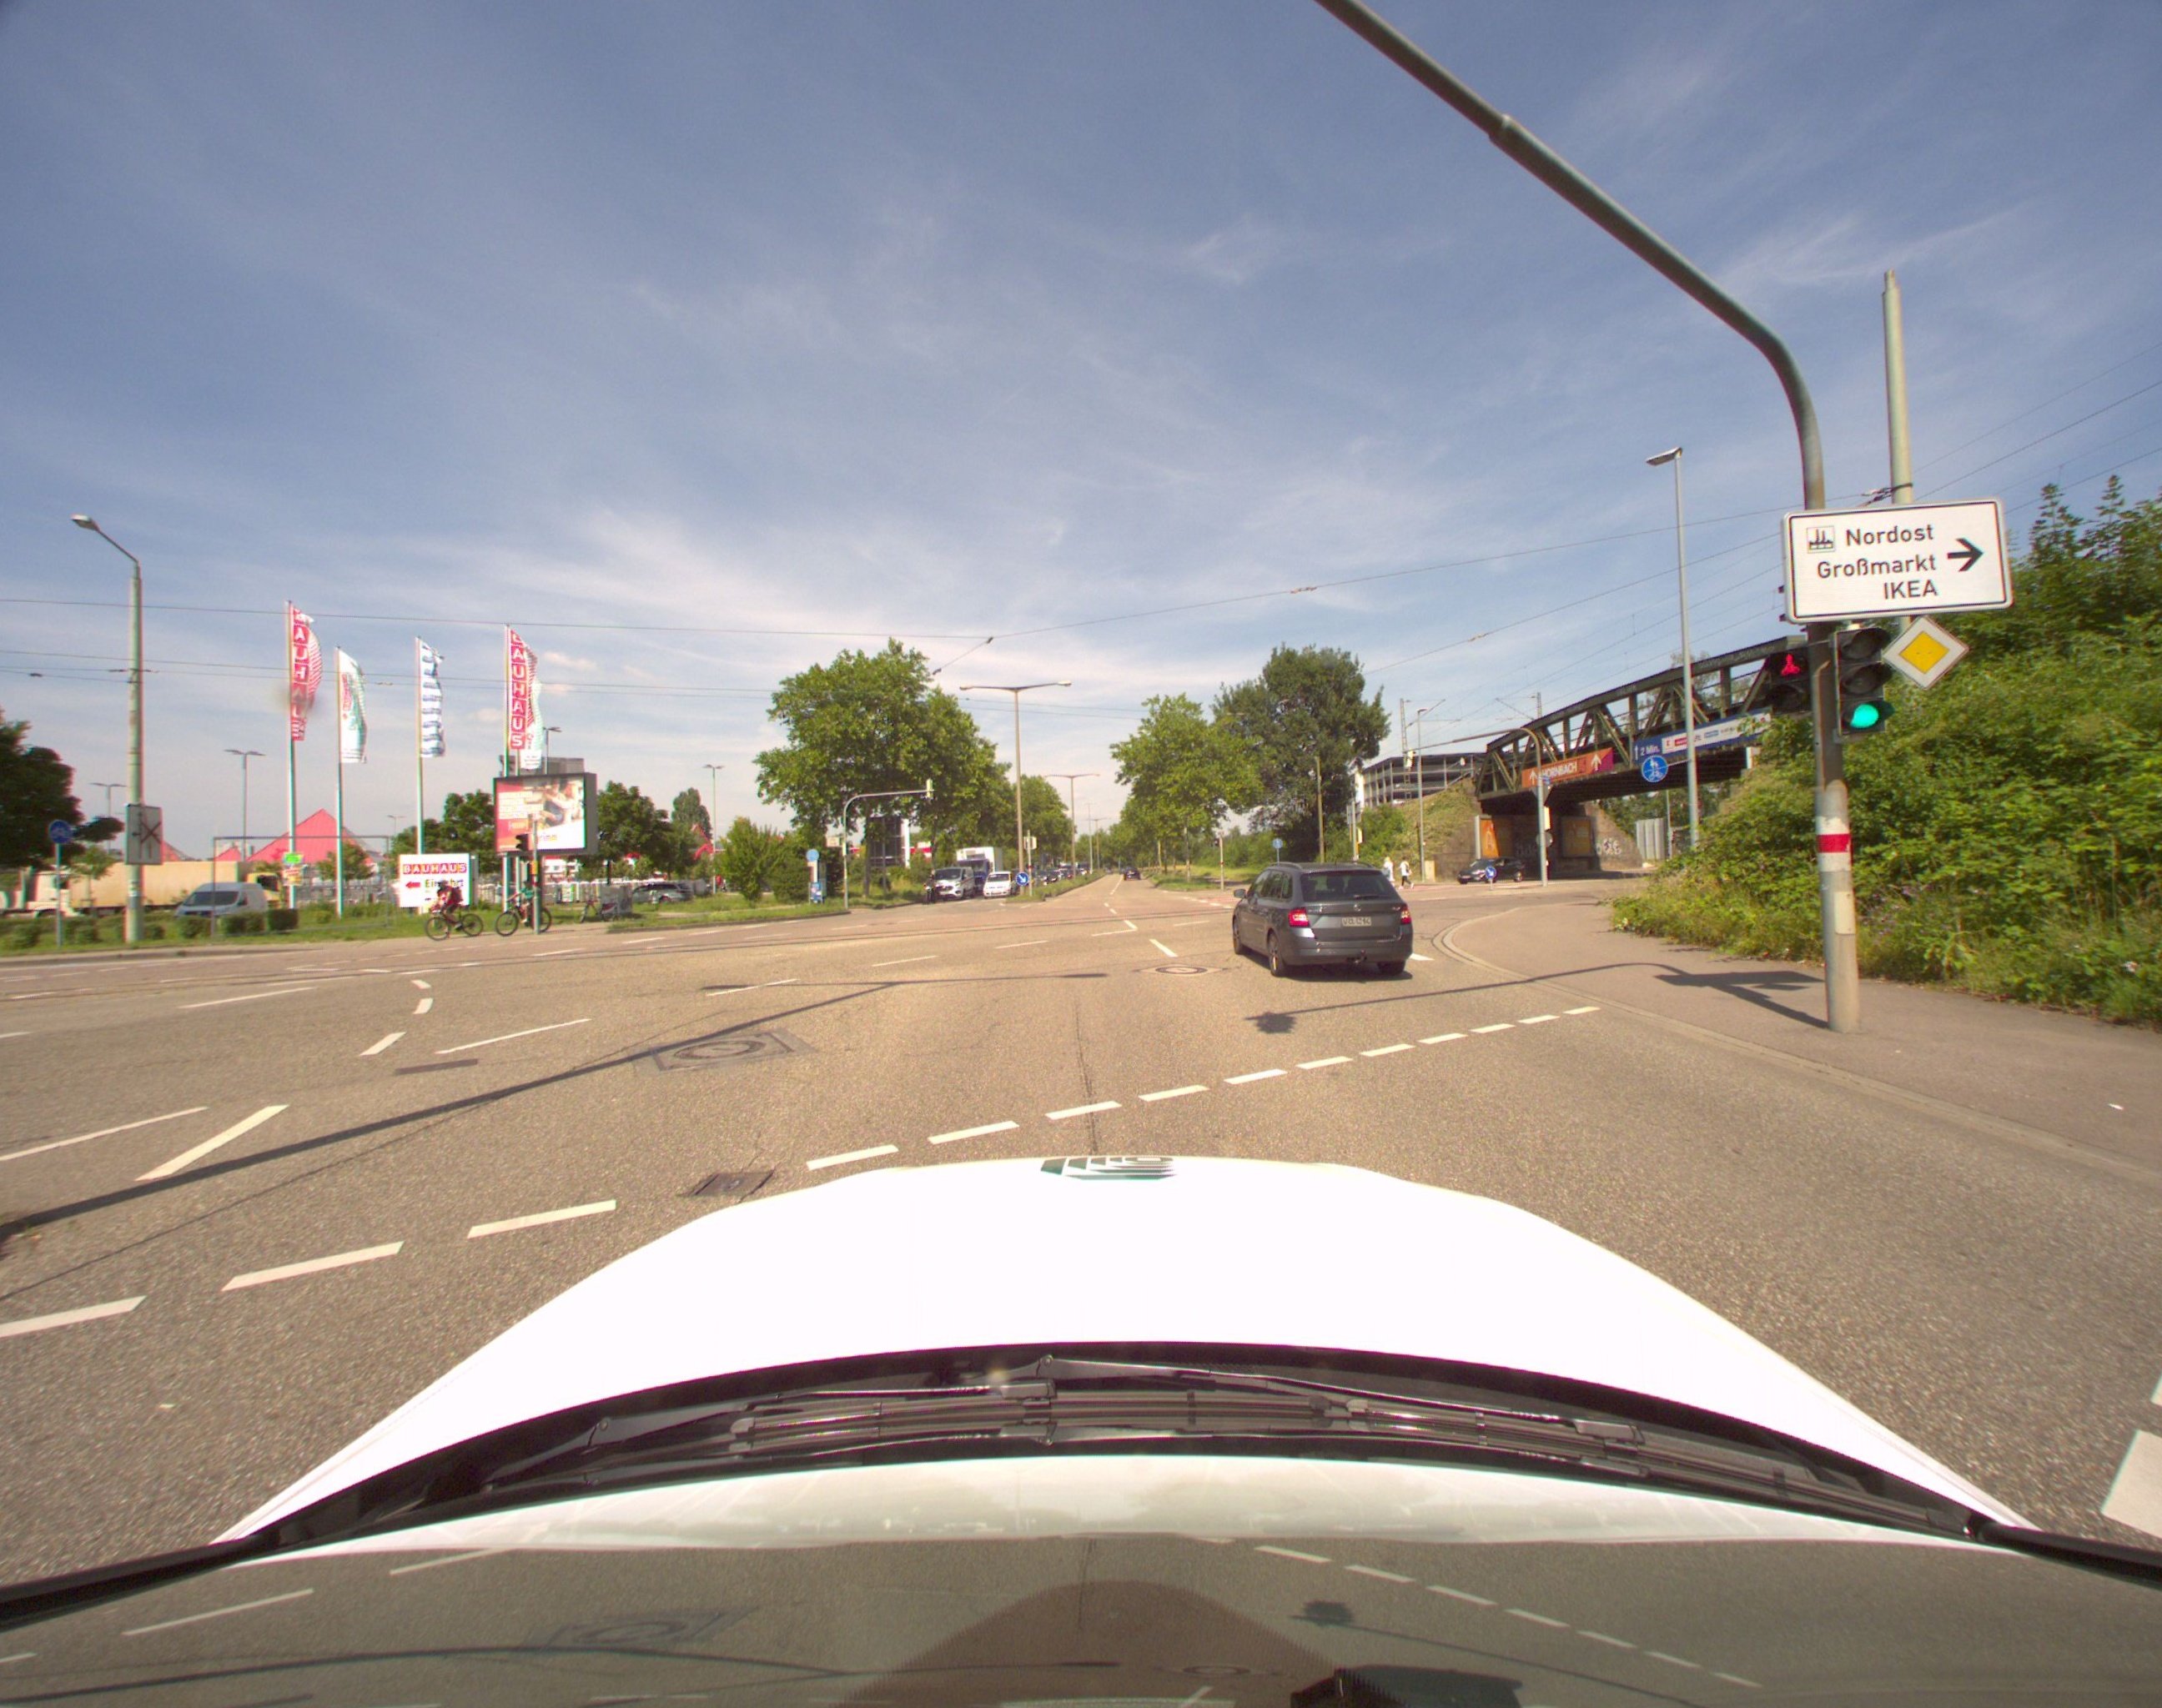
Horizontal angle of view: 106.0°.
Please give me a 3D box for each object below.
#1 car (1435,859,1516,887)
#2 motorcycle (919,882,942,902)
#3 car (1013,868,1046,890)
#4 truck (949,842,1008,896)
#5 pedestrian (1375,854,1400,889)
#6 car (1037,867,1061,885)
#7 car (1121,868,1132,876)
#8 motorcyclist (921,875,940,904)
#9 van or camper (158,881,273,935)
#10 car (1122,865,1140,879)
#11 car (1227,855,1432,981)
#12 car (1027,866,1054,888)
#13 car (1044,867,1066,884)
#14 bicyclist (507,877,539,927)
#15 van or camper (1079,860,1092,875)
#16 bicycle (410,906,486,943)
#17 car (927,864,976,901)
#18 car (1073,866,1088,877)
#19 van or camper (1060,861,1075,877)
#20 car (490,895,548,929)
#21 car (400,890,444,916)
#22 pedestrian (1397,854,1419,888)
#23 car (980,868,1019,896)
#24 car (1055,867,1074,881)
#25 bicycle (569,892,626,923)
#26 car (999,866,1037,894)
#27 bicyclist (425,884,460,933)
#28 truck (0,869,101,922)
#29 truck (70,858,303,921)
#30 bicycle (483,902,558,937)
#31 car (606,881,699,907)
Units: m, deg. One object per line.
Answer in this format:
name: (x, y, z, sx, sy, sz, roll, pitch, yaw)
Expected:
car: (21.945, 1.029, 45.216, 4.518, 1.409, 1.979, -1, -1, -33)
motorcycle: (-7.951, 1.992, 43.059, 0.685, 0.991, 2.219, -2, -1, 3)
car: (-3.751, 1.821, 60.047, 1.789, 1.468, 4.527, -3, -1, 4)
truck: (-7.239, 1.049, 58.485, 2.792, 3.471, 6.696, -4, -1, 3)
pedestrian: (14.861, 0.845, 39.484, 0.864, 1.612, 0.778, -2, -1, 2)
car: (-2.880, 1.986, 73.953, 1.682, 1.473, 4.221, -4, -1, 3)
car: (9.154, 3.583, 163.829, 1.902, 1.463, 4.581, -2, 0, 0)
motorcyclist: (-7.981, 1.874, 43.156, 0.740, 1.470, 0.988, -2, -1, 3)
van or camper: (-40.089, 2.424, 37.932, 2.203, 2.210, 5.464, -1, -1, -31)
car: (5.505, 1.971, 89.980, 1.900, 1.463, 4.624, -2, -1, 2)
car: (3.254, 0.764, 11.499, 1.669, 1.453, 4.035, -1, -1, 0)
car: (-3.259, 1.865, 66.585, 1.682, 1.586, 4.243, -3, -1, 3)
car: (-2.528, 2.091, 79.583, 1.682, 1.472, 3.817, -3, -1, 3)
bicyclist: (-17.246, 1.479, 25.166, 0.523, 1.491, 0.612, -2, -1, 18)
van or camper: (0.785, 2.300, 135.379, 1.931, 2.369, 5.399, -3, -2, 2)
bicycle: (-18.602, 2.054, 23.970, 0.429, 0.937, 1.761, -2, -1, 25)
car: (-7.558, 1.616, 48.077, 1.969, 1.999, 5.032, -2, -1, 1)
car: (-0.069, 2.577, 119.864, 1.776, 1.459, 4.475, -3, -1, 3)
van or camper: (-2.344, 2.539, 140.735, 2.006, 2.588, 5.521, -3, -1, 3)
car: (-30.594, 3.103, 44.292, 2.212, 1.572, 4.523, -1, -1, -40)
car: (-44.446, 3.285, 55.024, 1.828, 1.572, 4.235, -1, -1, -33)
pedestrian: (15.746, 0.817, 39.255, 0.726, 1.579, 0.778, -2, -1, 3)
car: (-4.668, 1.602, 47.184, 1.586, 1.477, 3.732, -3, -1, 3)
car: (-1.862, 2.270, 92.269, 1.778, 1.489, 4.213, -3, -1, 2)
bicycle: (-18.033, 1.981, 30.395, 0.589, 1.037, 1.904, -2, -1, 17)
car: (-4.063, 1.664, 53.155, 1.812, 1.647, 4.697, -3, -2, 3)
bicyclist: (-18.714, 1.591, 23.879, 0.522, 1.414, 0.613, -2, -1, 25)
truck: (-63.879, 2.487, 46.517, 9.652, 2.892, 2.896, -1, -1, -34)
truck: (-53.812, 2.033, 49.487, 8.961, 3.311, 3.126, -1, -1, -34)
bicycle: (-17.249, 1.999, 25.110, 0.412, 0.937, 2.007, -2, -1, 20)
car: (-26.497, 2.463, 50.516, 4.553, 1.414, 2.197, -2, -1, -4)
